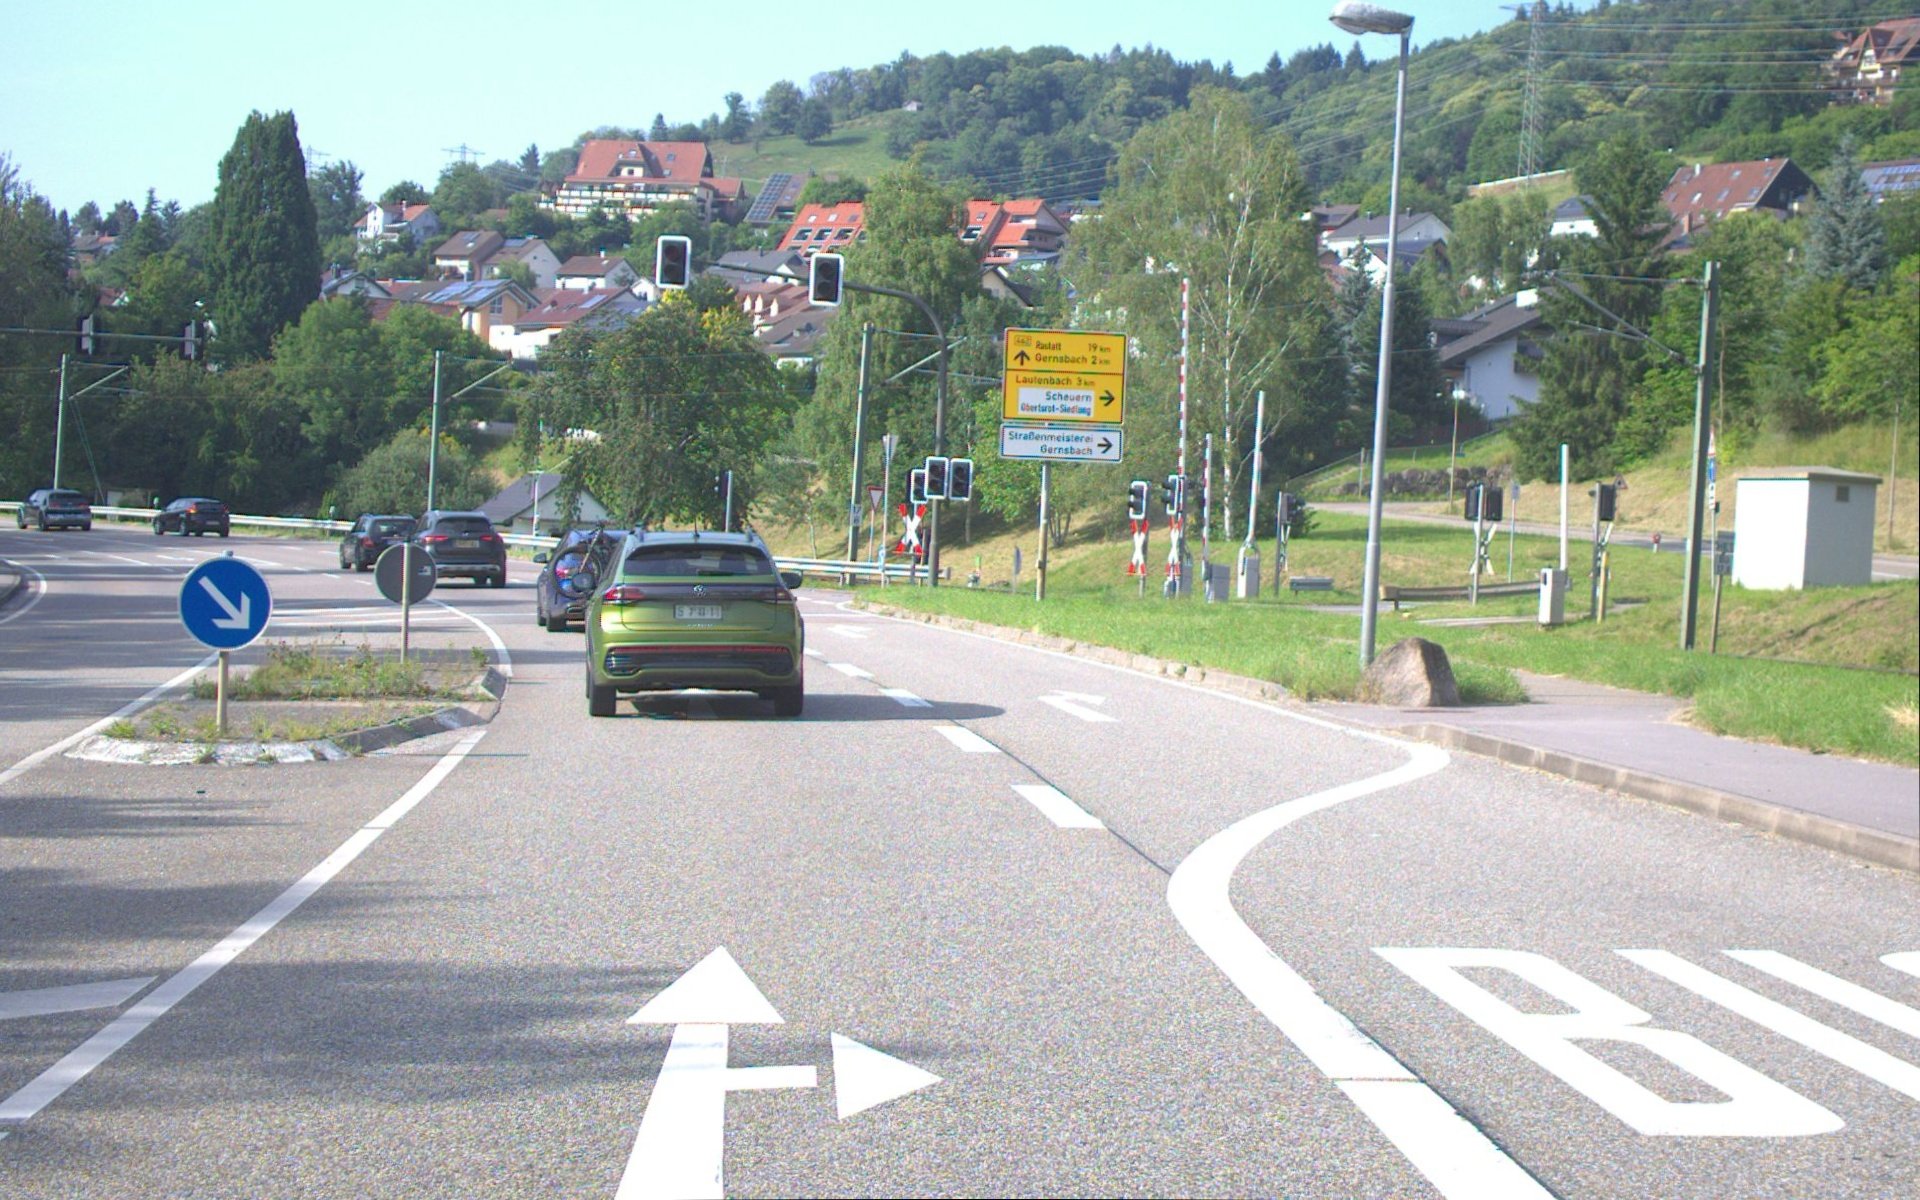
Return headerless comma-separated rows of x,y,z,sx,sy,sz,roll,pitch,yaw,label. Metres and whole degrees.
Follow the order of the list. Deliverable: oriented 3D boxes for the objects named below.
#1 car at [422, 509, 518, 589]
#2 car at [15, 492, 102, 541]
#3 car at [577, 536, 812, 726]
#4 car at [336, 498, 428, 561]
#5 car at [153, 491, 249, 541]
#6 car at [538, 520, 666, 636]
-10.670,-1.130,74.662,1.879,1.681,4.001,0,1,-11,car
-35.227,-3.268,134.271,2.063,1.805,4.000,0,2,-34,car
-2.279,0.207,28.703,1.714,1.450,4.001,1,1,-8,car
-14.901,-1.831,88.497,1.848,1.521,3.664,-1,2,-17,car
-28.339,-3.130,128.336,1.994,1.739,3.999,1,1,-37,car
-5.116,-0.338,48.830,1.667,1.554,4.001,1,1,-8,car
